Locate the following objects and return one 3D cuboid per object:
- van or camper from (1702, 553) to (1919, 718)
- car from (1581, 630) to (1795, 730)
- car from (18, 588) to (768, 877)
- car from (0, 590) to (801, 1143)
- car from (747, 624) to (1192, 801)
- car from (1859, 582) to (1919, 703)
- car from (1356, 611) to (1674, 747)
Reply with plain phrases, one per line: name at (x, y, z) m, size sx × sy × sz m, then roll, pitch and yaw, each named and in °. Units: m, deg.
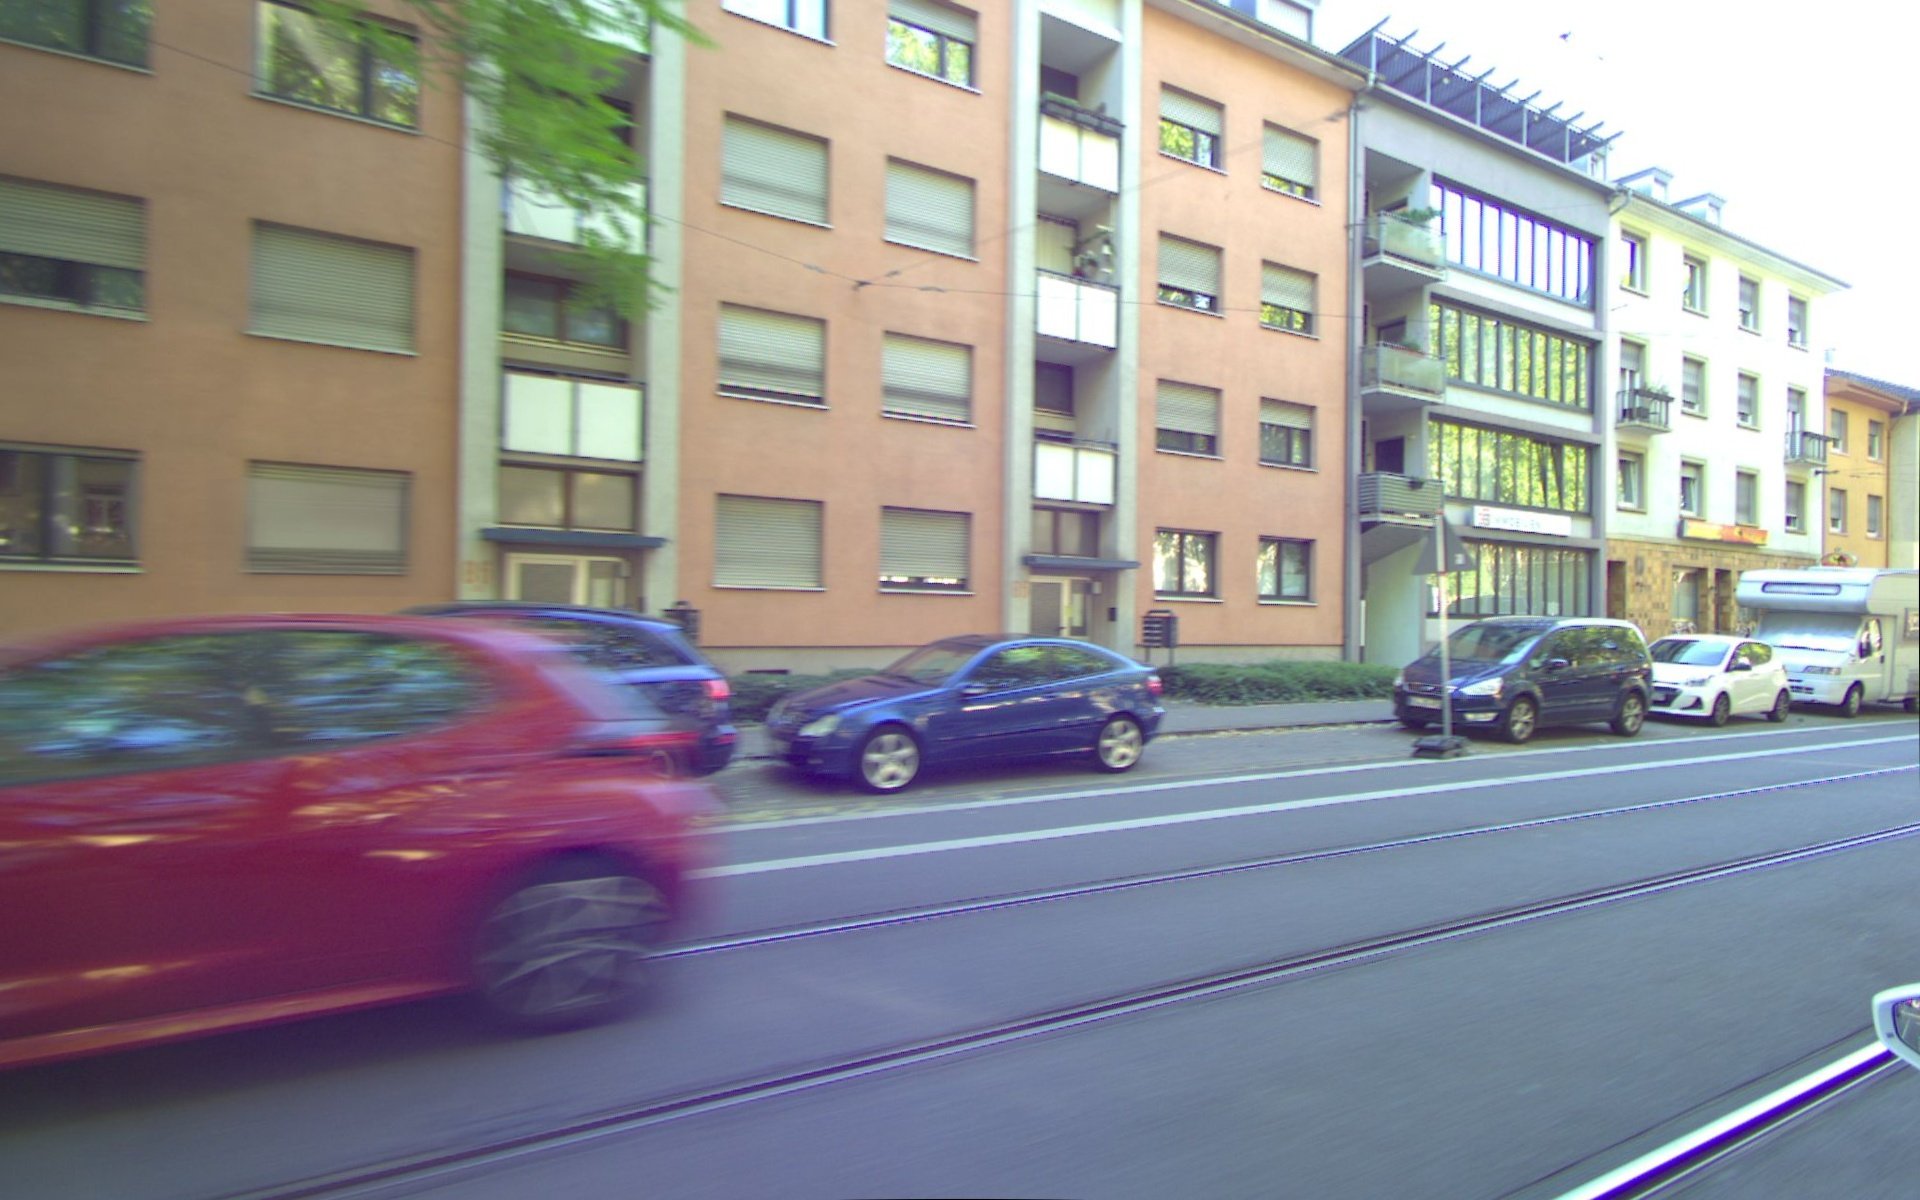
van or camper at (18.776, 0.685, 21.348) m, size 6.319 × 3.082 × 2.327 m, roll 1°, pitch 2°, yaw -29°
car at (13.059, 1.364, 17.978) m, size 3.818 × 1.508 × 1.701 m, roll 1°, pitch 2°, yaw -31°
car at (-3.974, 0.812, 7.781) m, size 4.535 × 1.632 × 1.772 m, roll 1°, pitch 2°, yaw -31°
car at (-2.840, 0.746, 3.572) m, size 4.153 × 1.477 × 1.767 m, roll 1°, pitch -2°, yaw -30°
car at (0.179, 1.021, 10.399) m, size 4.332 × 1.419 × 1.729 m, roll 1°, pitch 1°, yaw -31°
car at (24.531, 1.052, 24.621) m, size 5.247 × 2.768 × 2.076 m, roll 1°, pitch 2°, yaw -30°
car at (8.453, 1.086, 15.165) m, size 5.013 × 1.709 × 1.942 m, roll 1°, pitch 1°, yaw -31°
